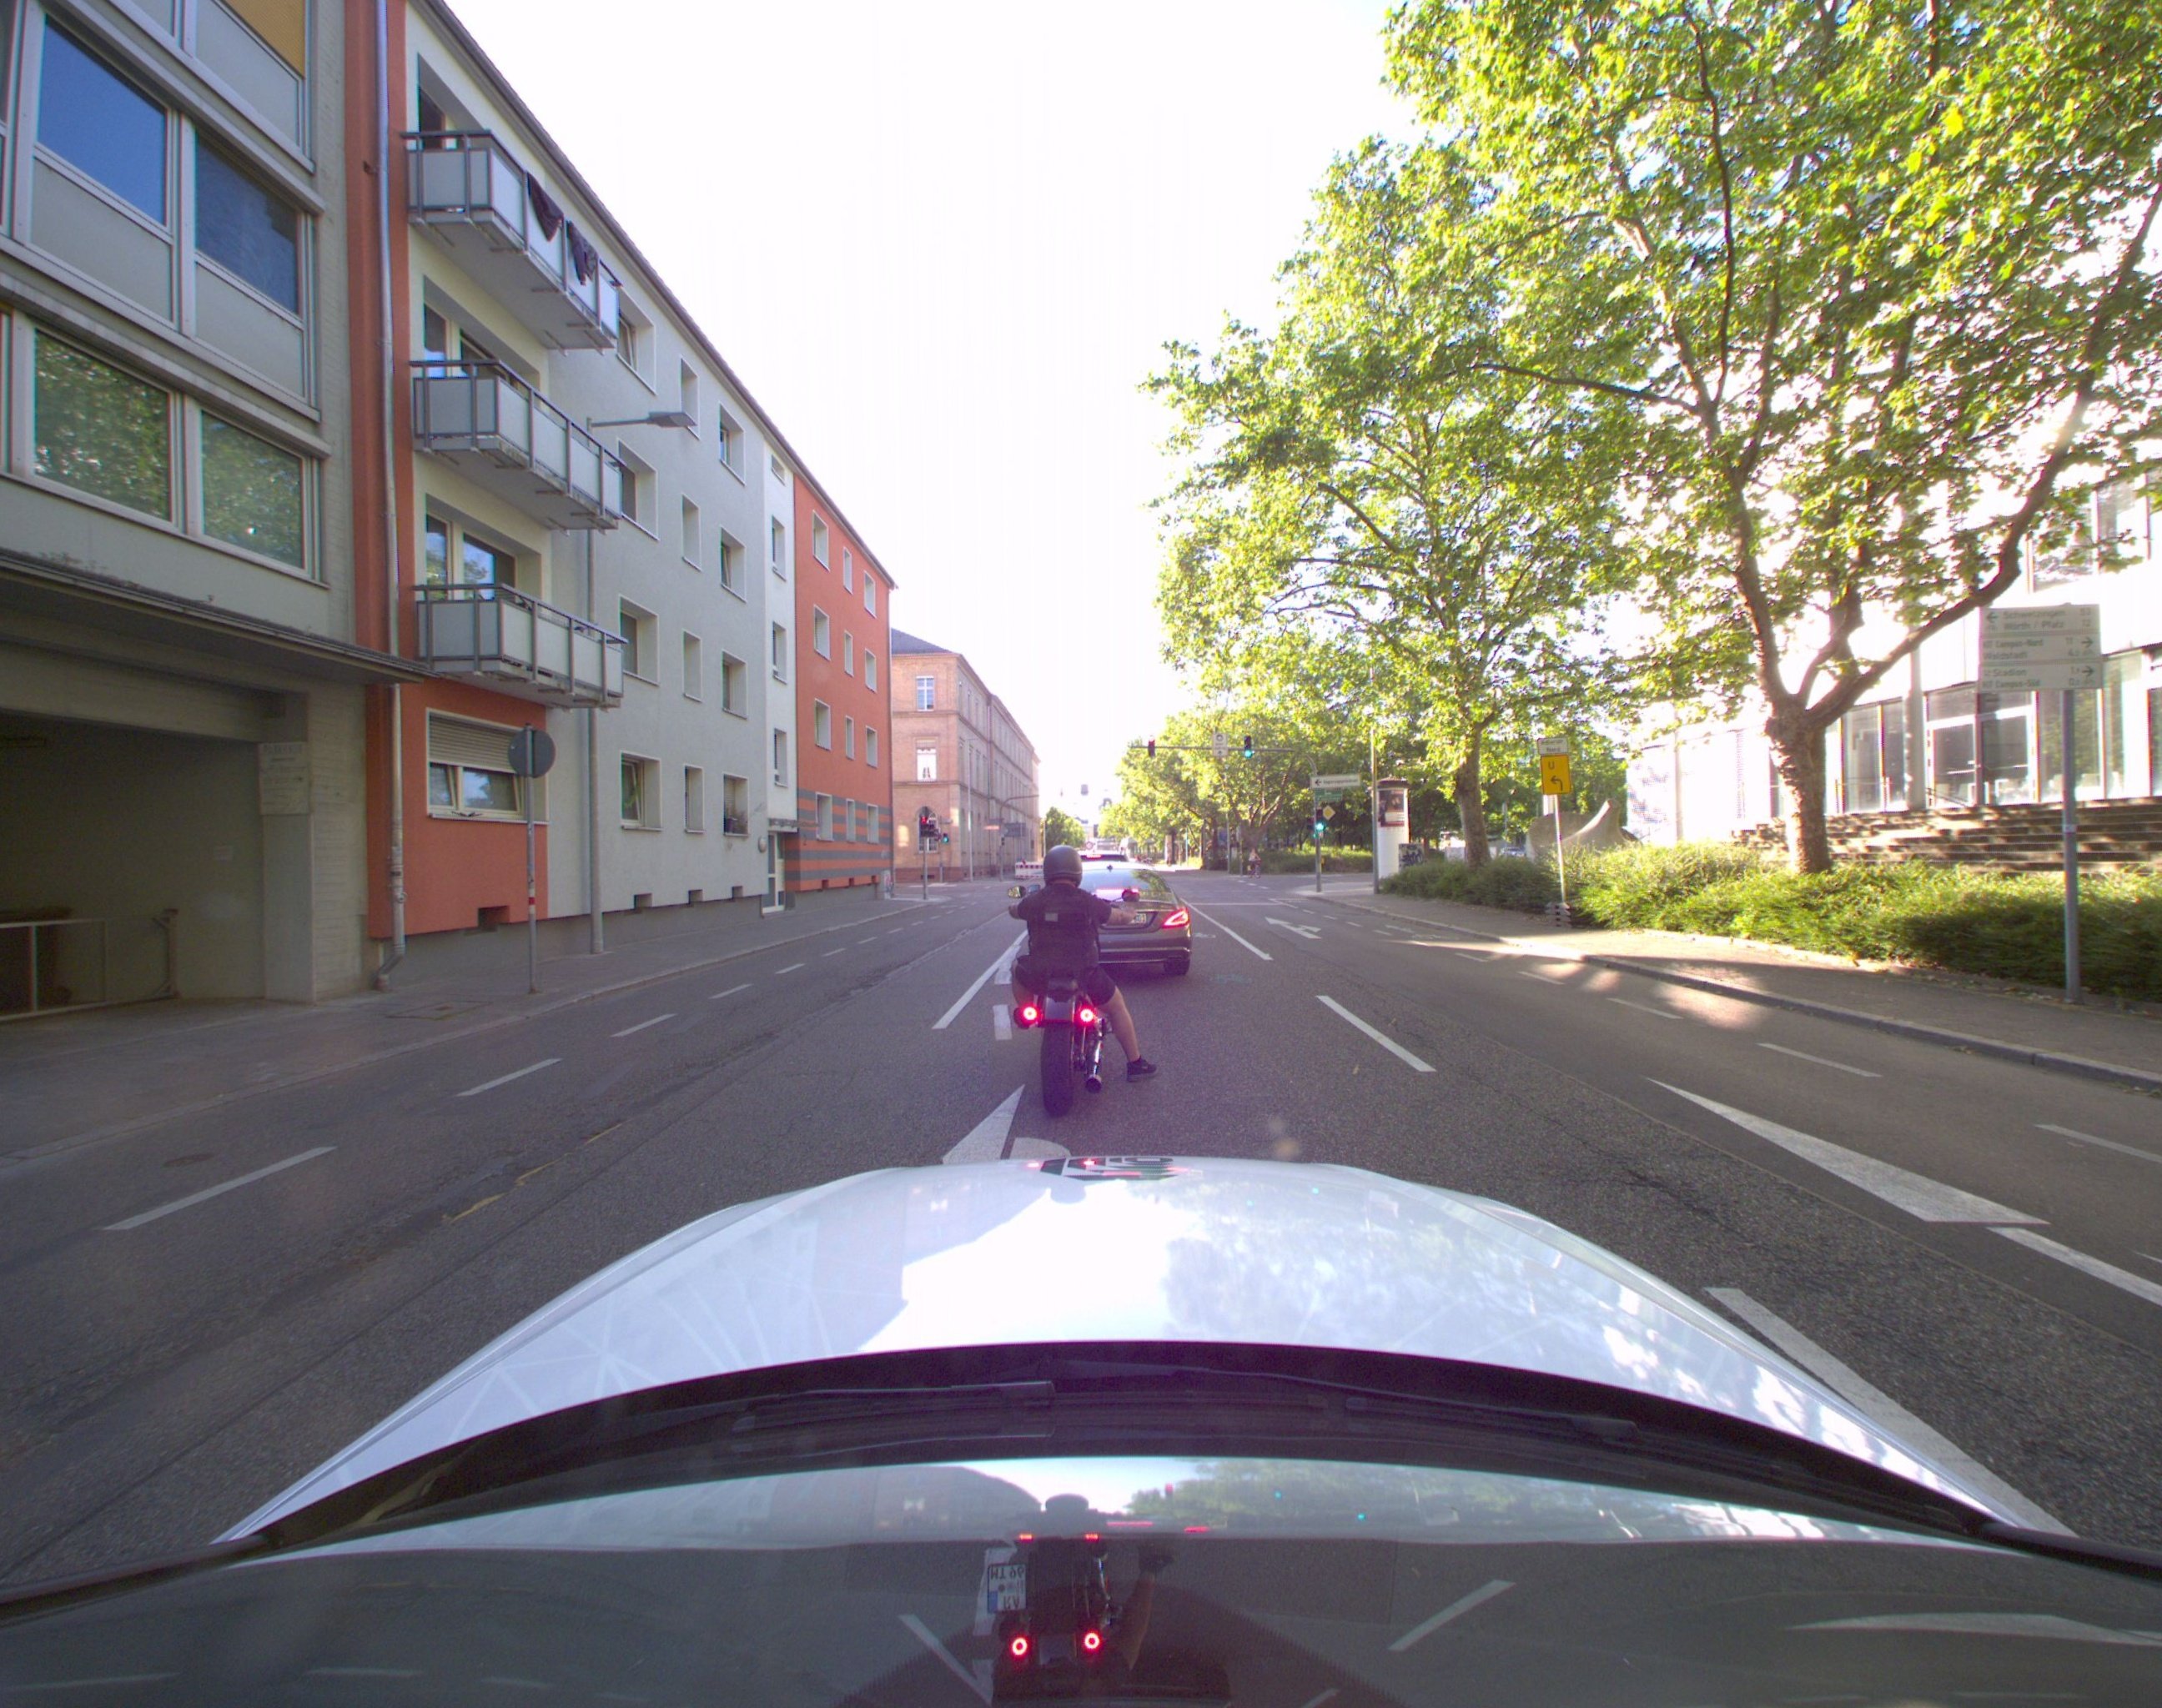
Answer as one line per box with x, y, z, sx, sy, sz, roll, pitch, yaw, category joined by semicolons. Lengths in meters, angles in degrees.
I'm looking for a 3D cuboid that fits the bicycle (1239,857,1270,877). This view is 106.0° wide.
10.395;0.788;48.790;0.718;1.172;2.160;0;-1;-22;bicycle

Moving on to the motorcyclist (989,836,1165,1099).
-0.009;0.691;5.387;1.057;1.582;0.908;0;-1;1;motorcyclist

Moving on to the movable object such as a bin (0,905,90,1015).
-11.328;1.103;8.645;0.736;1.074;0.716;0;-1;2;movable object such as a bin

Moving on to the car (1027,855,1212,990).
0.306;0.761;11.234;1.900;1.441;4.279;-1;0;-6;car

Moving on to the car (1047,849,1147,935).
0.265;0.700;16.892;1.808;1.536;3.847;-1;0;-1;car

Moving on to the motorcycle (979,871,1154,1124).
-0.045;0.816;5.657;0.958;1.357;2.321;0;-1;2;motorcycle

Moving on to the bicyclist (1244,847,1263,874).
10.335;0.378;48.926;0.719;1.582;0.929;0;-1;-22;bicyclist
